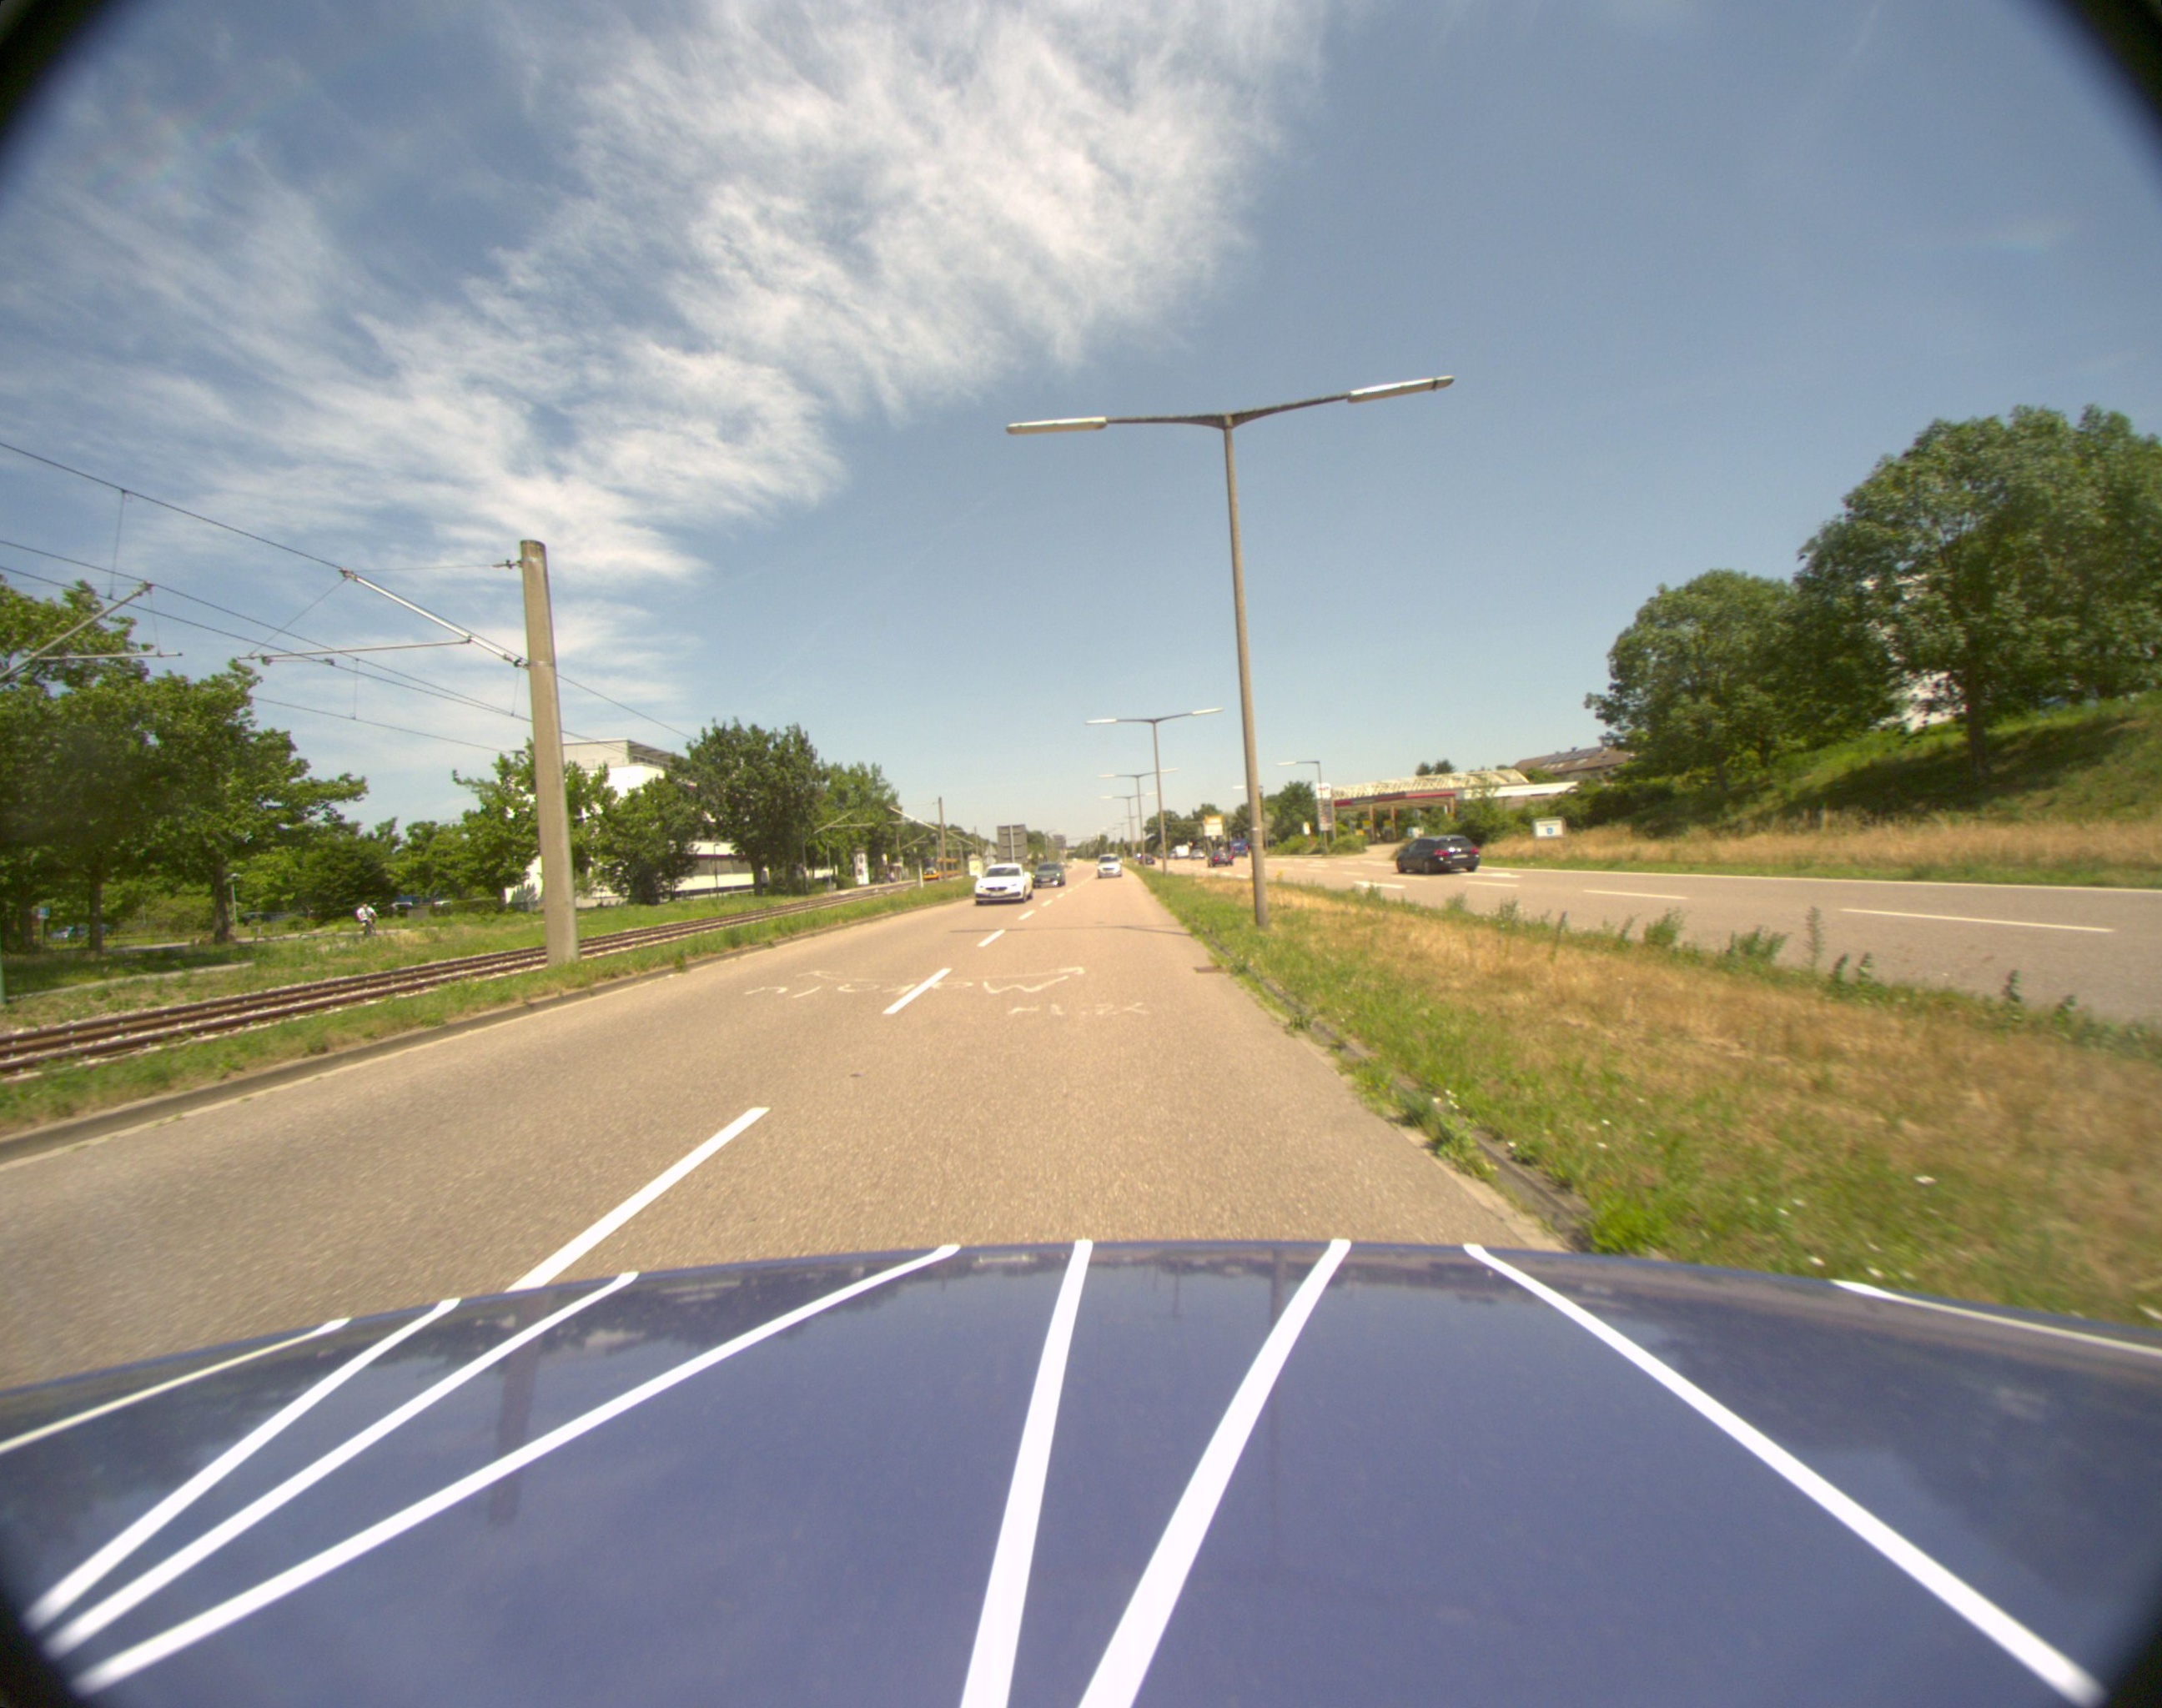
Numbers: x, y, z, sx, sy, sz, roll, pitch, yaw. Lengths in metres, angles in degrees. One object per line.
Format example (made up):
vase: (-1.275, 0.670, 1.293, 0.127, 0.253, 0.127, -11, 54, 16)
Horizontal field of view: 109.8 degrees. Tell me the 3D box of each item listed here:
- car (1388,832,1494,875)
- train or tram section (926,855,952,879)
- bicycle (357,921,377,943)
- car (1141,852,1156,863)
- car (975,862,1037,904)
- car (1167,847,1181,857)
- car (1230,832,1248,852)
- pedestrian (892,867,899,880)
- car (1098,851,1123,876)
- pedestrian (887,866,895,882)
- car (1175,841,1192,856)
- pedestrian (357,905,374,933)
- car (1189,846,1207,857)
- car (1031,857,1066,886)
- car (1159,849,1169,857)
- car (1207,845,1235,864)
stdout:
car: (13.873, -0.024, 29.611, 1.998, 1.352, 4.666, -5, 0, 3)
train or tram section: (-22.511, 1.934, 121.316, 2.822, 3.561, 12.495, 0, 0, -5)
bicycle: (-36.920, 4.033, 39.300, 1.577, 1.113, 0.432, -4, 0, 37)
car: (9.322, 0.477, 104.935, 1.680, 1.426, 4.191, -5, 0, 2)
car: (-2.763, 1.043, 28.900, 1.686, 1.381, 4.451, -2, 0, 2)
car: (17.685, -0.403, 144.802, 1.970, 1.740, 5.021, -6, 1, -1)
car: (21.400, -1.616, 102.833, 2.177, 2.397, 5.675, -4, 0, 11)
pedestrian: (-23.465, 2.489, 96.236, 0.553, 1.599, 0.690, -6, 1, 2)
car: (2.402, 0.730, 62.753, 1.876, 1.866, 5.732, -3, 0, 1)
pedestrian: (-23.037, 2.399, 92.236, 0.696, 1.831, 0.711, -6, 1, -13)
car: (17.507, -0.947, 129.984, 2.254, 2.260, 5.449, -6, 0, 2)
pedestrian: (-37.092, 3.355, 39.398, 0.583, 1.395, 0.459, -3, 1, 34)
car: (17.162, -0.368, 111.743, 1.835, 1.441, 4.851, -4, 0, 1)
car: (-1.988, 1.075, 47.153, 1.722, 1.587, 4.001, -4, 0, 3)
car: (18.094, -0.279, 166.315, 1.662, 1.530, 4.000, -7, 0, 0)
car: (11.951, 0.021, 65.177, 1.696, 1.483, 4.000, -4, 0, 1)
